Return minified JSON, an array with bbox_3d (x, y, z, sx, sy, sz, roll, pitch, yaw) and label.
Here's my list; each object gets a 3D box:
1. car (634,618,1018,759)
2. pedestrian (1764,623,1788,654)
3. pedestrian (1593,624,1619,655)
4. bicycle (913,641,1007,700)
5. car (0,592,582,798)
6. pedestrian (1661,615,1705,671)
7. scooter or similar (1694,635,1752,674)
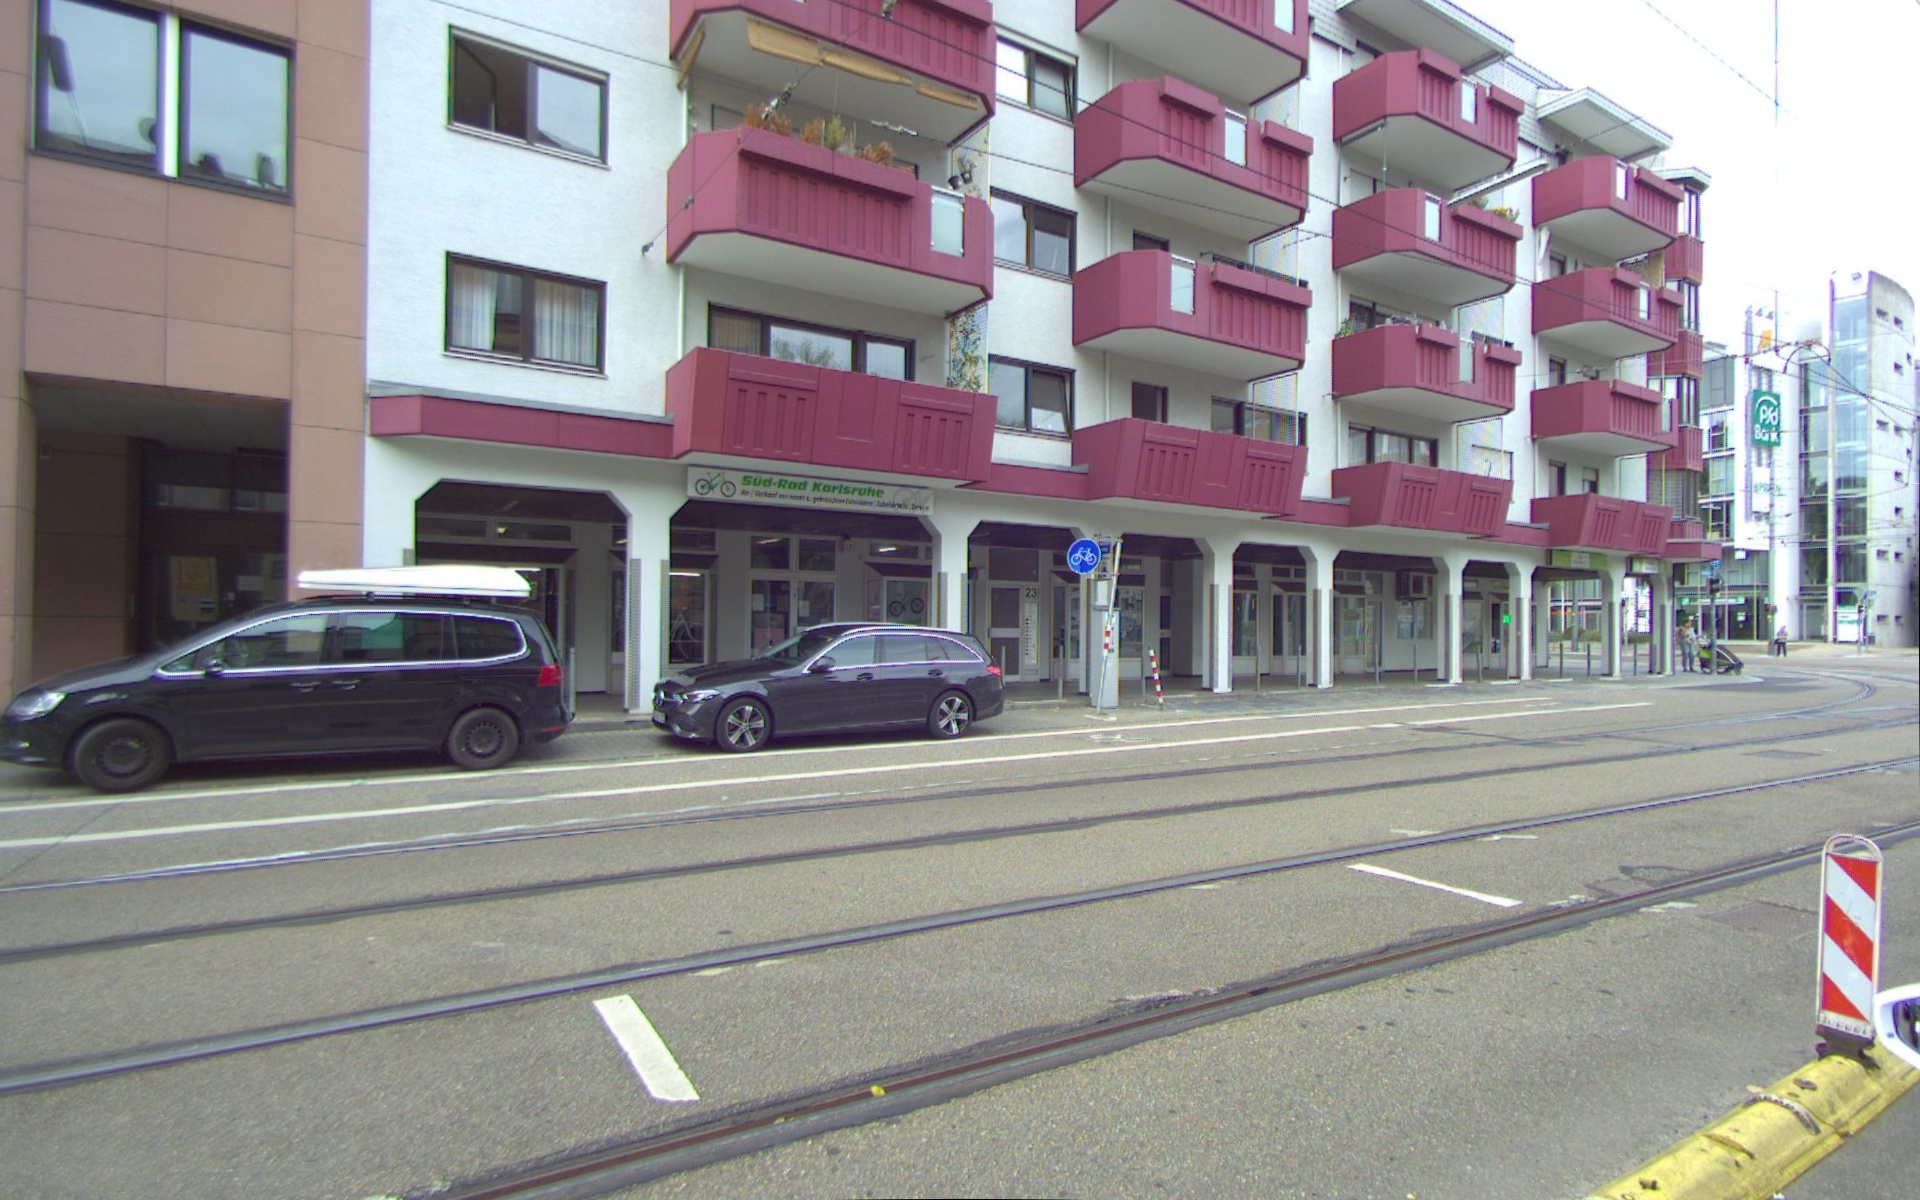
[{"bbox_3d":[-1.648,1.030,13.056,4.645,1.500,1.745,1,1,-32],"label":"car"},{"bbox_3d":[49.412,2.333,60.819,0.754,1.889,0.833,1,-1,-17],"label":"pedestrian"},{"bbox_3d":[36.001,2.177,55.972,0.753,1.693,0.935,1,-1,-17],"label":"pedestrian"},{"bbox_3d":[0.020,1.196,17.340,1.636,0.966,0.560,1,-1,-39],"label":"bicycle"},{"bbox_3d":[-6.471,0.819,10.245,4.645,1.669,1.797,1,1,-32],"label":"car"},{"bbox_3d":[23.319,1.372,32.389,0.803,1.766,0.942,1,-1,-33],"label":"pedestrian"},{"bbox_3d":[23.910,1.684,31.486,0.936,1.143,1.189,1,0,-32],"label":"scooter or similar"}]
